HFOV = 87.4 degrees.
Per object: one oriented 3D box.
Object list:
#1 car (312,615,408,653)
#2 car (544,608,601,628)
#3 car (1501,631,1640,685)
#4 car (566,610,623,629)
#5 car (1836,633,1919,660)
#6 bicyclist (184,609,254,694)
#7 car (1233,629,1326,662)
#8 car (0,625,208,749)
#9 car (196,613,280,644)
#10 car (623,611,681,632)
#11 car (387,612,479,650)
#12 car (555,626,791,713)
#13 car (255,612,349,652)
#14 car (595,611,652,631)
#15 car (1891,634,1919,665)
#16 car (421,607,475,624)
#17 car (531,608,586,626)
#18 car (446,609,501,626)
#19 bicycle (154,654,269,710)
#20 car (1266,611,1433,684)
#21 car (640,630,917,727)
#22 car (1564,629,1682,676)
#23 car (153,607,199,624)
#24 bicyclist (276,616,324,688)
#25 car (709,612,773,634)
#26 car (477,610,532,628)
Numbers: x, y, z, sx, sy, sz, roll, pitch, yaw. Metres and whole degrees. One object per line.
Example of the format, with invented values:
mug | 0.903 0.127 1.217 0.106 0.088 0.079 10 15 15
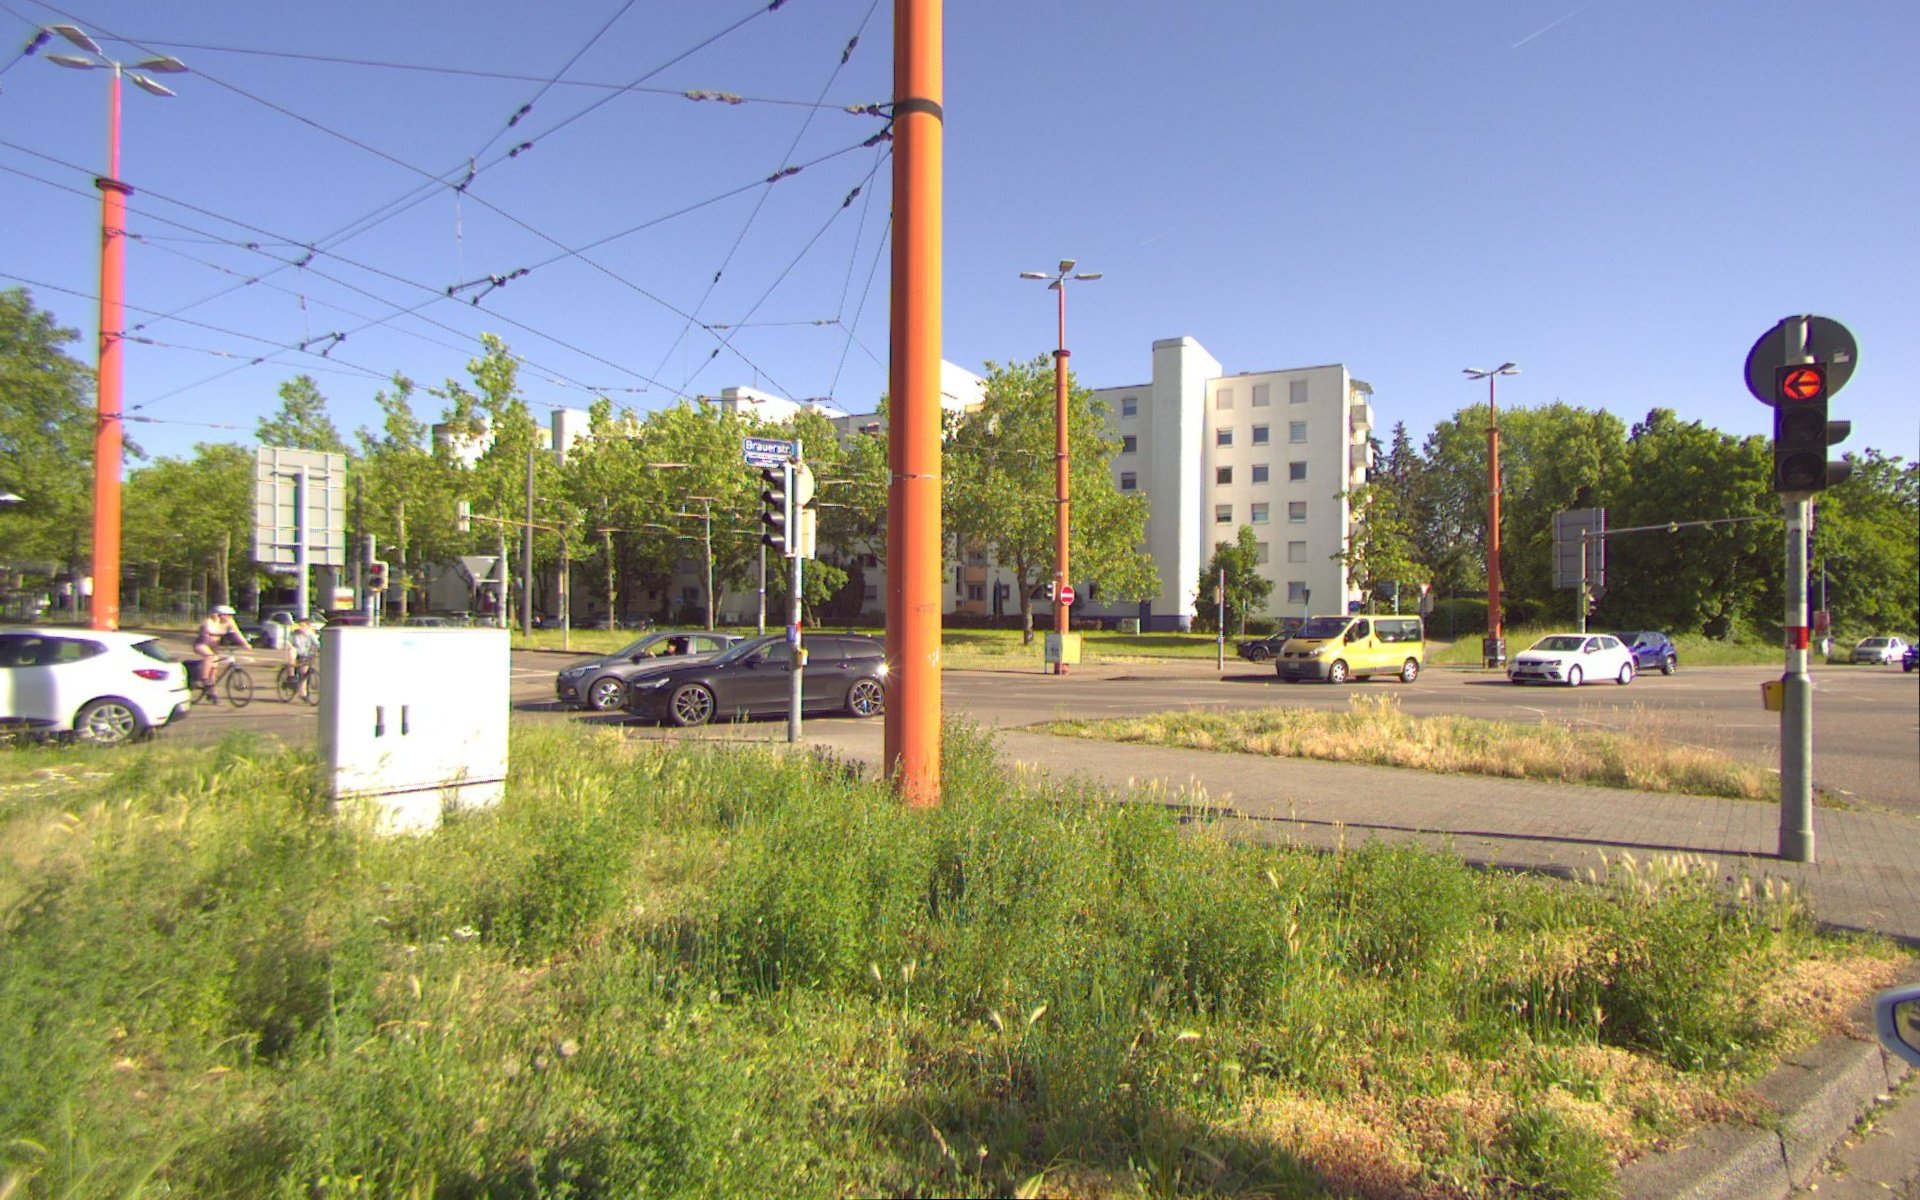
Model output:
car | -24.222 1.352 40.526 3.994 1.454 1.682 0 -1 32
car | -30.073 1.412 78.080 3.934 1.428 1.794 1 -1 -16
car | 17.427 1.612 28.640 3.973 1.425 1.681 1 -1 -30
car | -27.574 1.480 75.925 3.934 1.428 1.794 1 -1 -16
car | 50.618 2.554 55.353 3.936 1.416 1.750 1 -1 -17
bicyclist | -13.967 0.959 18.954 0.752 1.565 0.732 1 -1 -1
car | 14.994 2.113 47.359 3.919 1.428 1.801 1 -1 8
car | -11.994 1.040 12.478 3.950 1.437 1.855 1 -1 -28
car | -34.515 1.348 47.975 4.286 1.368 1.761 1 0 32
car | -22.252 1.542 72.650 3.934 1.428 1.794 1 -1 -16
car | -22.950 1.317 43.731 4.192 1.566 1.852 0 -1 35
car | -5.591 1.306 19.605 4.185 1.528 1.782 1 -1 -26
car | -28.868 1.372 44.031 4.178 1.658 1.825 0 -1 31
car | -24.993 1.550 74.701 3.934 1.428 1.794 1 -1 -16
car | 39.860 2.024 41.084 3.571 1.260 1.730 1 -1 -31
car | -44.786 1.380 87.901 3.935 1.428 1.794 1 -1 -17
car | -31.935 1.362 79.977 3.935 1.428 1.794 1 -1 -17
car | -41.431 1.478 85.630 3.935 1.428 1.794 1 -1 -17
bicycle | -14.120 1.539 18.974 1.613 0.974 0.685 1 -1 -2
car | 11.455 1.360 29.471 4.849 1.992 1.984 1 -1 -30
car | -3.025 1.245 16.917 4.256 1.435 1.788 1 -1 -28
car | 23.965 1.857 36.283 4.058 1.595 1.984 1 -1 -30
car | -94.085 1.869 120.543 1.969 2.040 3.984 0 -1 38
bicyclist | -13.087 1.021 19.925 0.616 1.399 0.443 1 -1 -1
car | -14.539 1.546 66.847 1.770 1.428 3.987 0 -1 35
car | -38.028 1.560 83.889 3.935 1.428 1.794 1 -1 -17
